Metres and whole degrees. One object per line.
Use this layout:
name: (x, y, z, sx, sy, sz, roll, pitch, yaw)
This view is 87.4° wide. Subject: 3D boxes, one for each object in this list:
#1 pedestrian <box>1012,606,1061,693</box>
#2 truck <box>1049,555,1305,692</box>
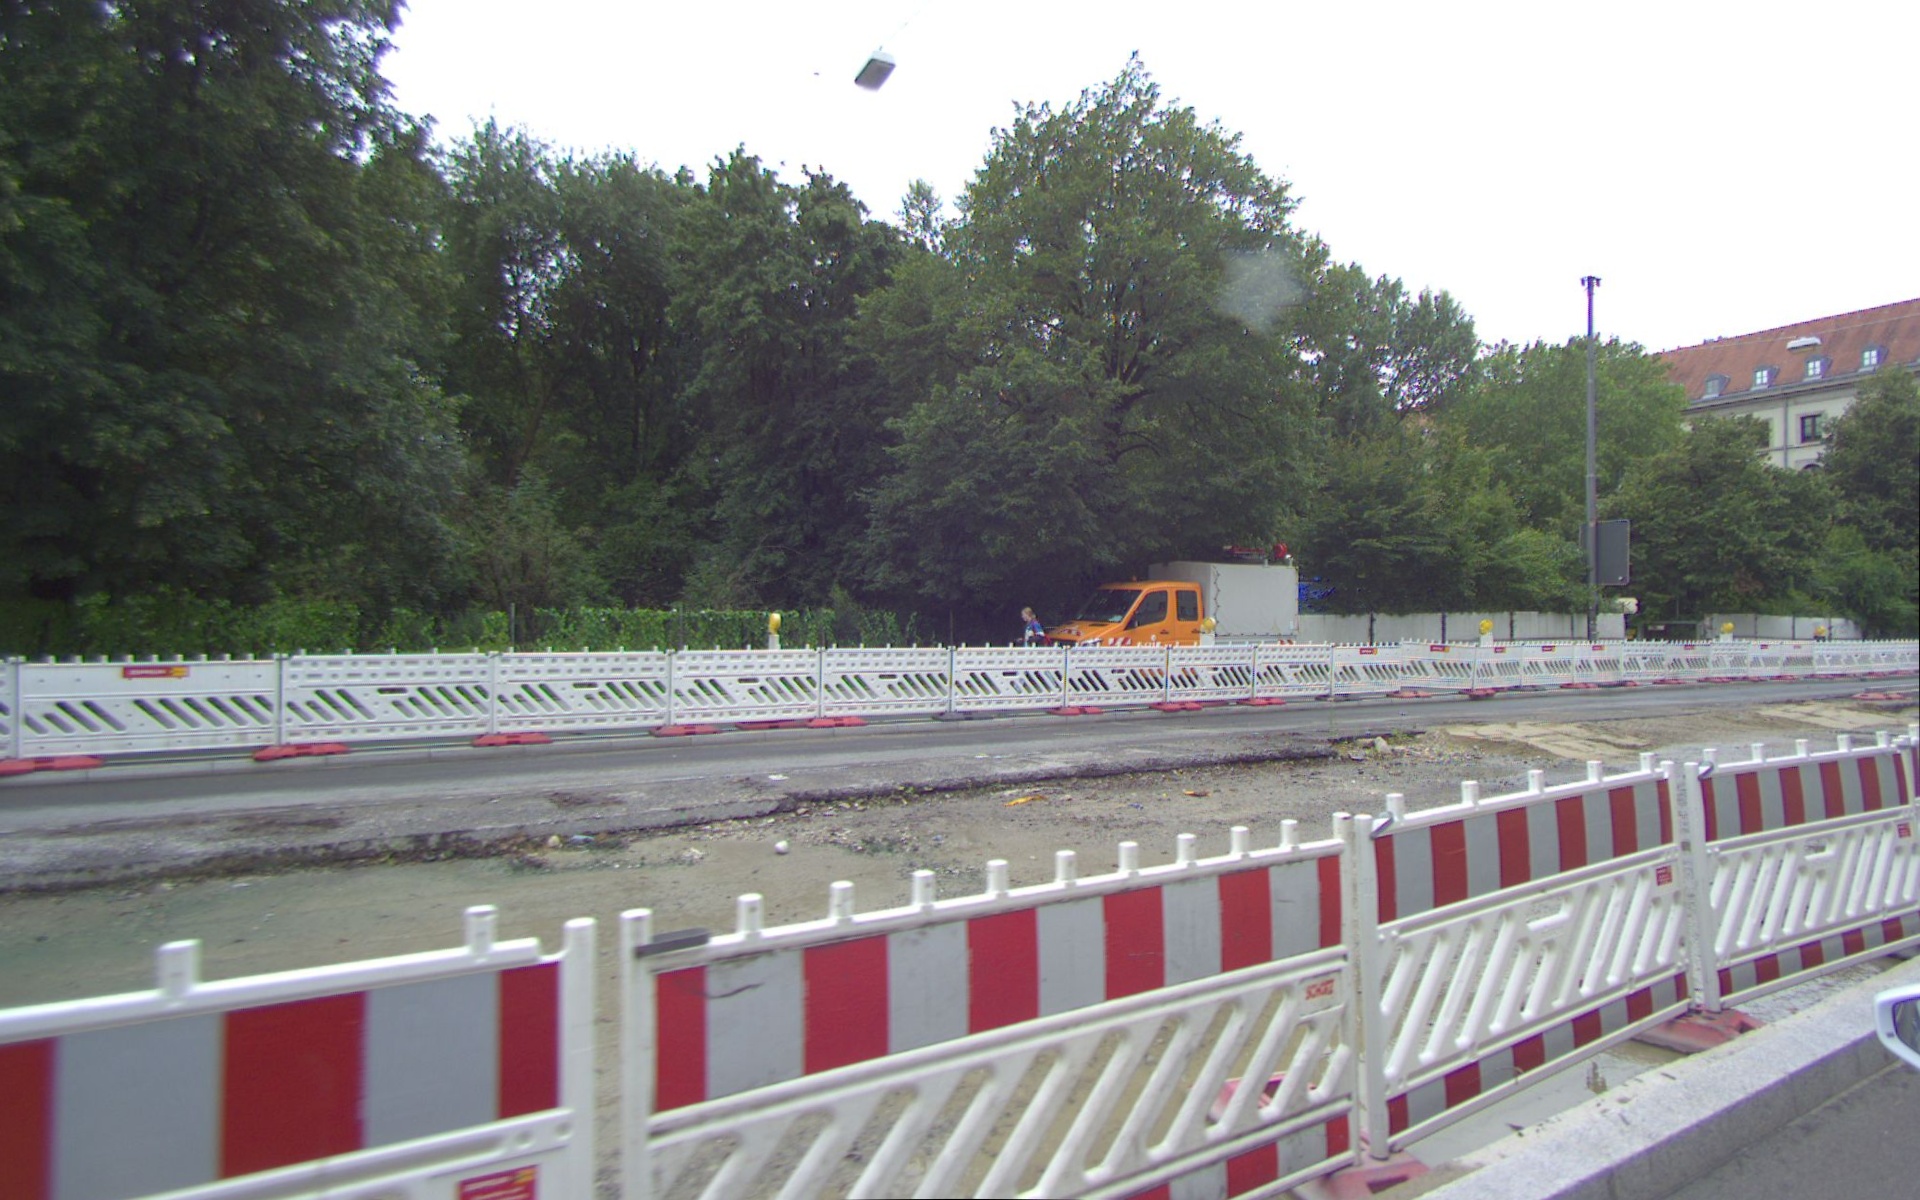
pedestrian: (1.471, 0.937, 19.345, 0.690, 1.624, 0.660, 0, 0, -29)
truck: (4.931, 0.519, 22.477, 5.800, 2.765, 1.984, 1, -1, -30)
